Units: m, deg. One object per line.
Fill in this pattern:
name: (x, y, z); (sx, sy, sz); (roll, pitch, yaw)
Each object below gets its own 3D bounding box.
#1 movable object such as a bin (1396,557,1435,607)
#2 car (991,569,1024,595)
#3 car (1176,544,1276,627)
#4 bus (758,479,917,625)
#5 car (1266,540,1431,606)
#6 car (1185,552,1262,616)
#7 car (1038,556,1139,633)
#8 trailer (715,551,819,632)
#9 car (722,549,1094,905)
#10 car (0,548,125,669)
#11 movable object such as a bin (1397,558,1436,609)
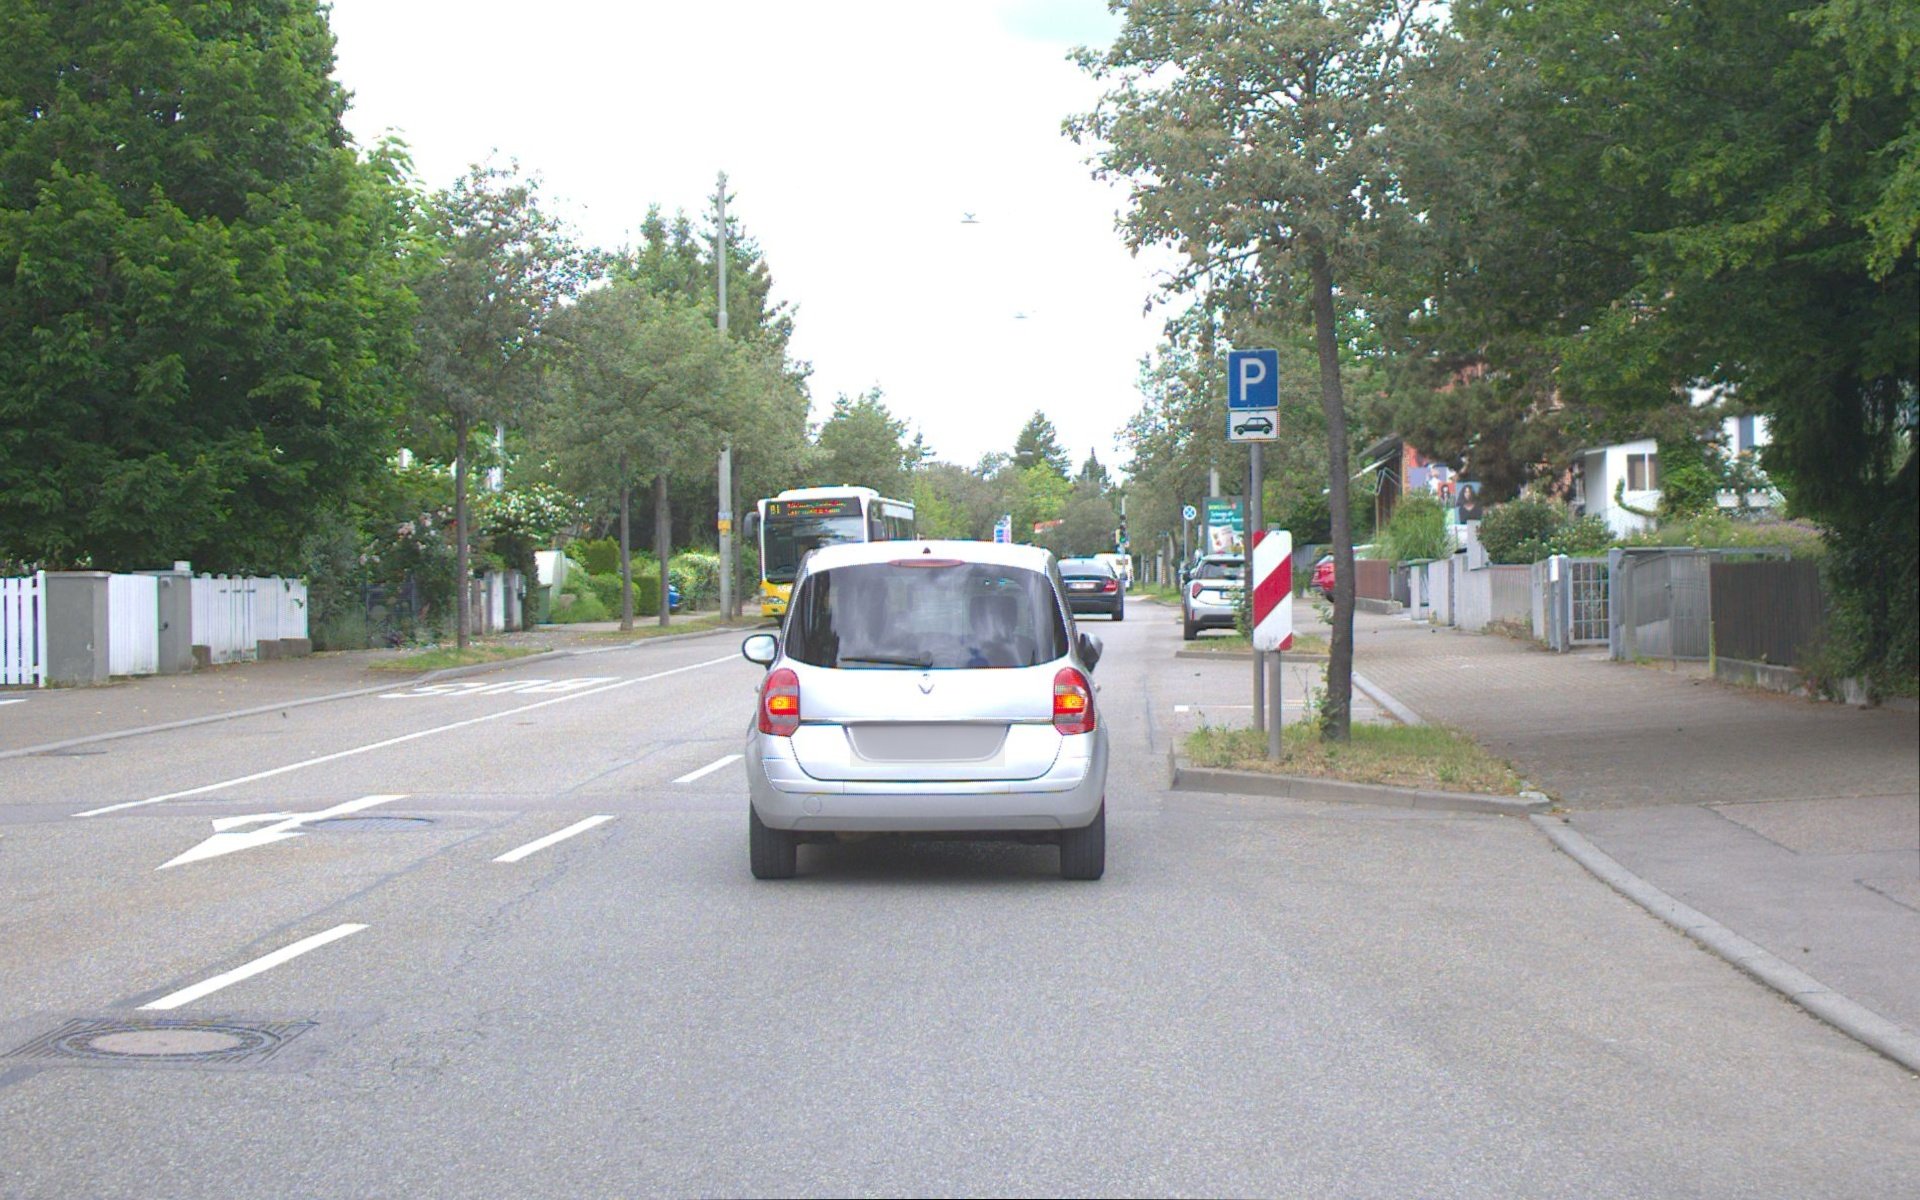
movable object such as a bin: (10.094, -0.404, 76.235); (0.776, 1.100, 0.691); (-1, 1, 2)
car: (3.035, -1.128, 219.693); (1.905, 1.612, 4.000); (0, 0, -2)
car: (4.531, -0.225, 58.883); (1.650, 1.378, 3.999); (0, 0, 4)
bus: (-2.733, -1.104, 80.732); (2.632, 3.075, 12.069); (-2, 1, 3)
car: (10.279, -0.710, 91.091); (3.986, 1.491, 1.810); (-4, 0, -5)
car: (5.956, -0.378, 77.545); (1.663, 1.388, 3.667); (0, 1, 5)
car: (2.915, -0.128, 77.498); (1.830, 1.670, 3.573); (-1, 0, 9)
trailer: (-5.199, -0.200, 93.297); (2.312, 2.079, 5.872); (1, 0, 2)
car: (-0.178, 0.574, 17.252); (1.630, 1.551, 4.000); (1, 0, 2)
car: (-13.040, 0.107, 47.618); (1.806, 1.559, 4.618); (-3, 1, -1)
movable object such as a bin: (10.019, -0.372, 75.481); (0.776, 1.100, 0.691); (-1, 1, 2)
